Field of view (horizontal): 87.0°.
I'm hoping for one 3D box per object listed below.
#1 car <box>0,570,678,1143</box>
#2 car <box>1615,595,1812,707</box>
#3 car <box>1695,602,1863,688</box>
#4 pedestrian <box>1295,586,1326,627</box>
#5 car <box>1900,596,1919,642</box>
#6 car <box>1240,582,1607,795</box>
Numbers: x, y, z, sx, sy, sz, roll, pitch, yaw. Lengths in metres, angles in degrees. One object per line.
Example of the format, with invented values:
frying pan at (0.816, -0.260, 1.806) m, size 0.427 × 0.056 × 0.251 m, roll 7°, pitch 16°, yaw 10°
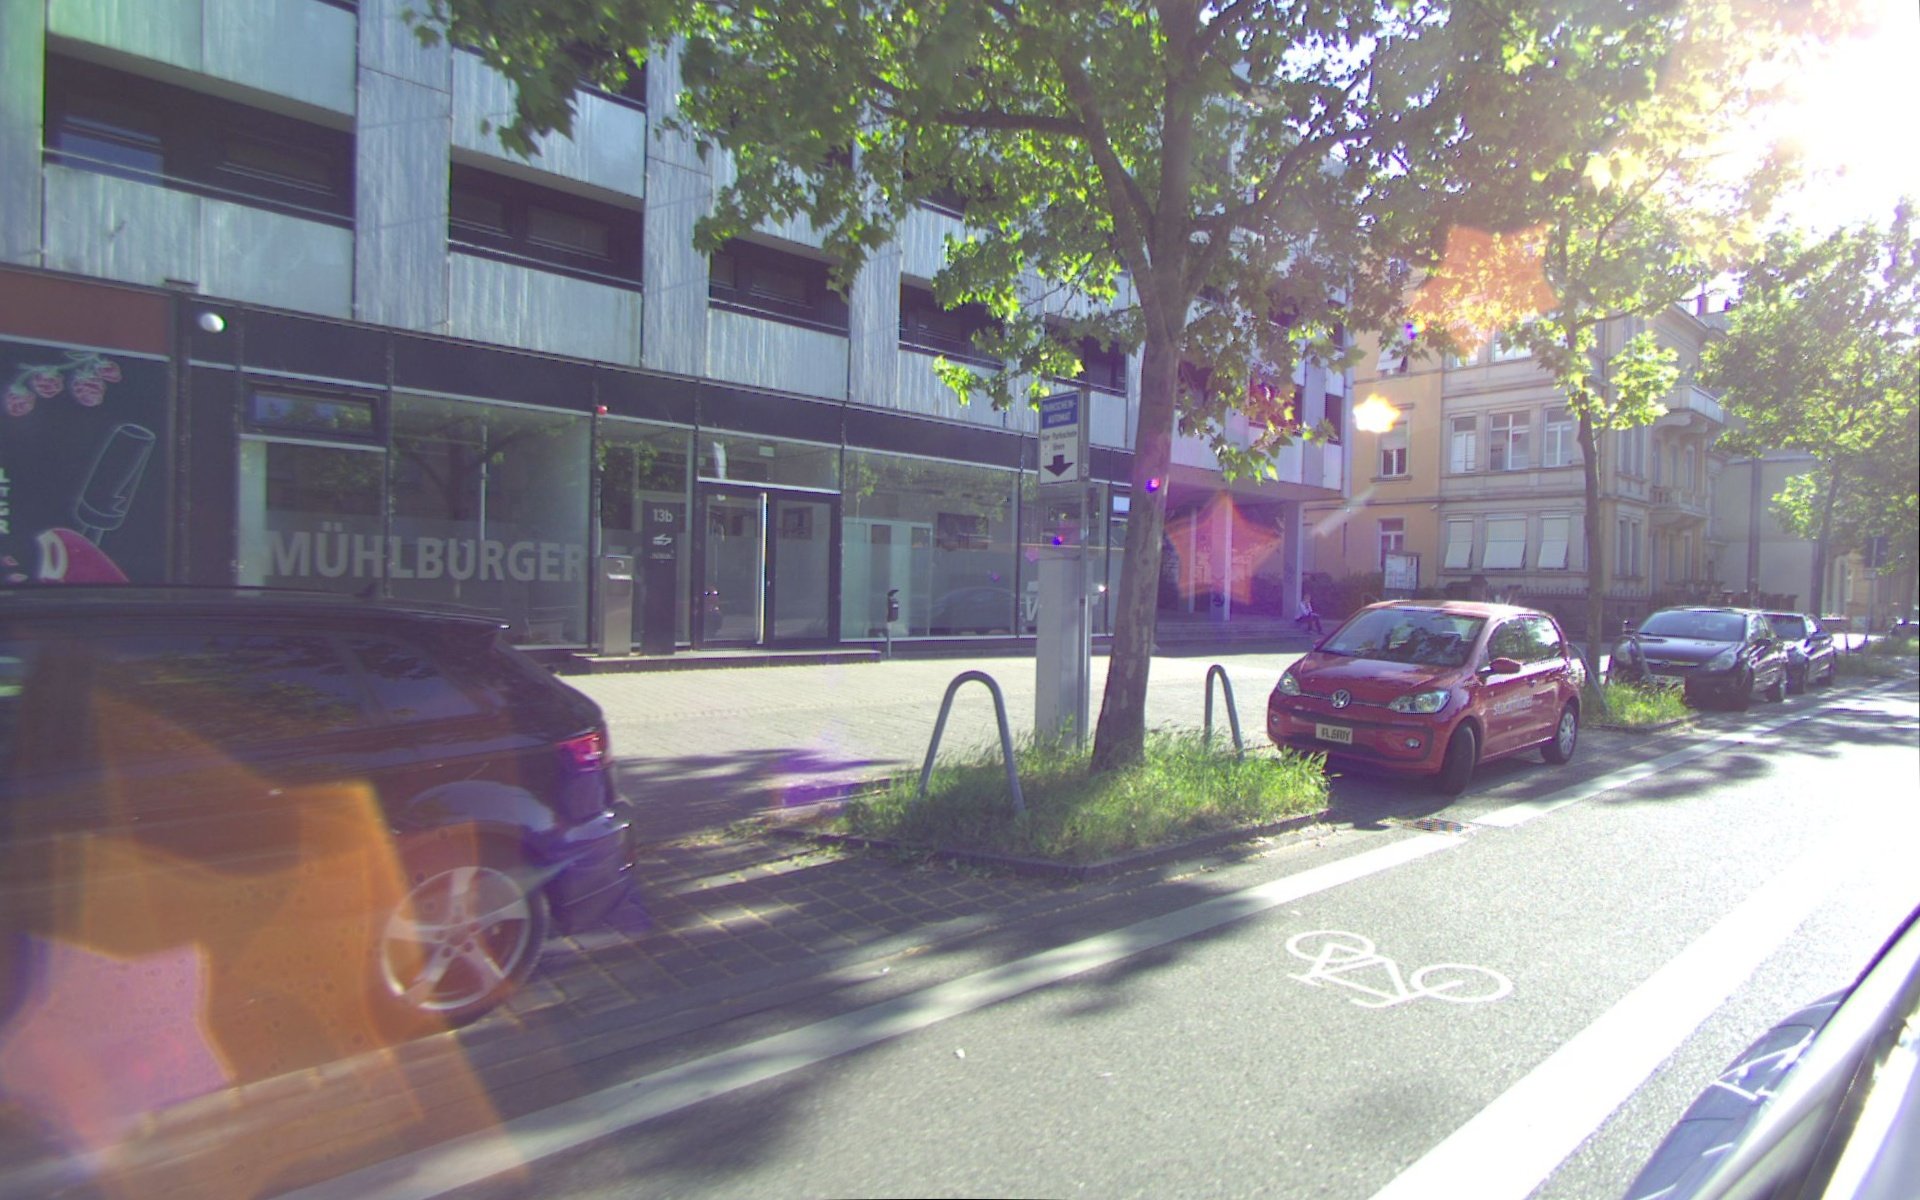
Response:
car at (-3.214, 0.642, 3.056) m, size 4.220 × 1.420 × 1.732 m, roll 0°, pitch 3°, yaw -41°
car at (11.736, 0.687, 15.681) m, size 3.861 × 1.459 × 1.629 m, roll 0°, pitch 3°, yaw -41°
car at (15.642, 0.772, 19.252) m, size 4.201 × 1.399 × 1.779 m, roll 0°, pitch 1°, yaw -41°
pedestrian at (9.968, 0.188, 28.792) m, size 0.672 × 1.123 × 0.560 m, roll 0°, pitch 2°, yaw -40°
car at (34.937, 0.667, 35.956) m, size 4.199 × 1.584 × 1.837 m, roll 0°, pitch 0°, yaw -41°
car at (4.314, 0.614, 9.197) m, size 3.627 × 1.455 × 1.676 m, roll -1°, pitch 4°, yaw -42°
